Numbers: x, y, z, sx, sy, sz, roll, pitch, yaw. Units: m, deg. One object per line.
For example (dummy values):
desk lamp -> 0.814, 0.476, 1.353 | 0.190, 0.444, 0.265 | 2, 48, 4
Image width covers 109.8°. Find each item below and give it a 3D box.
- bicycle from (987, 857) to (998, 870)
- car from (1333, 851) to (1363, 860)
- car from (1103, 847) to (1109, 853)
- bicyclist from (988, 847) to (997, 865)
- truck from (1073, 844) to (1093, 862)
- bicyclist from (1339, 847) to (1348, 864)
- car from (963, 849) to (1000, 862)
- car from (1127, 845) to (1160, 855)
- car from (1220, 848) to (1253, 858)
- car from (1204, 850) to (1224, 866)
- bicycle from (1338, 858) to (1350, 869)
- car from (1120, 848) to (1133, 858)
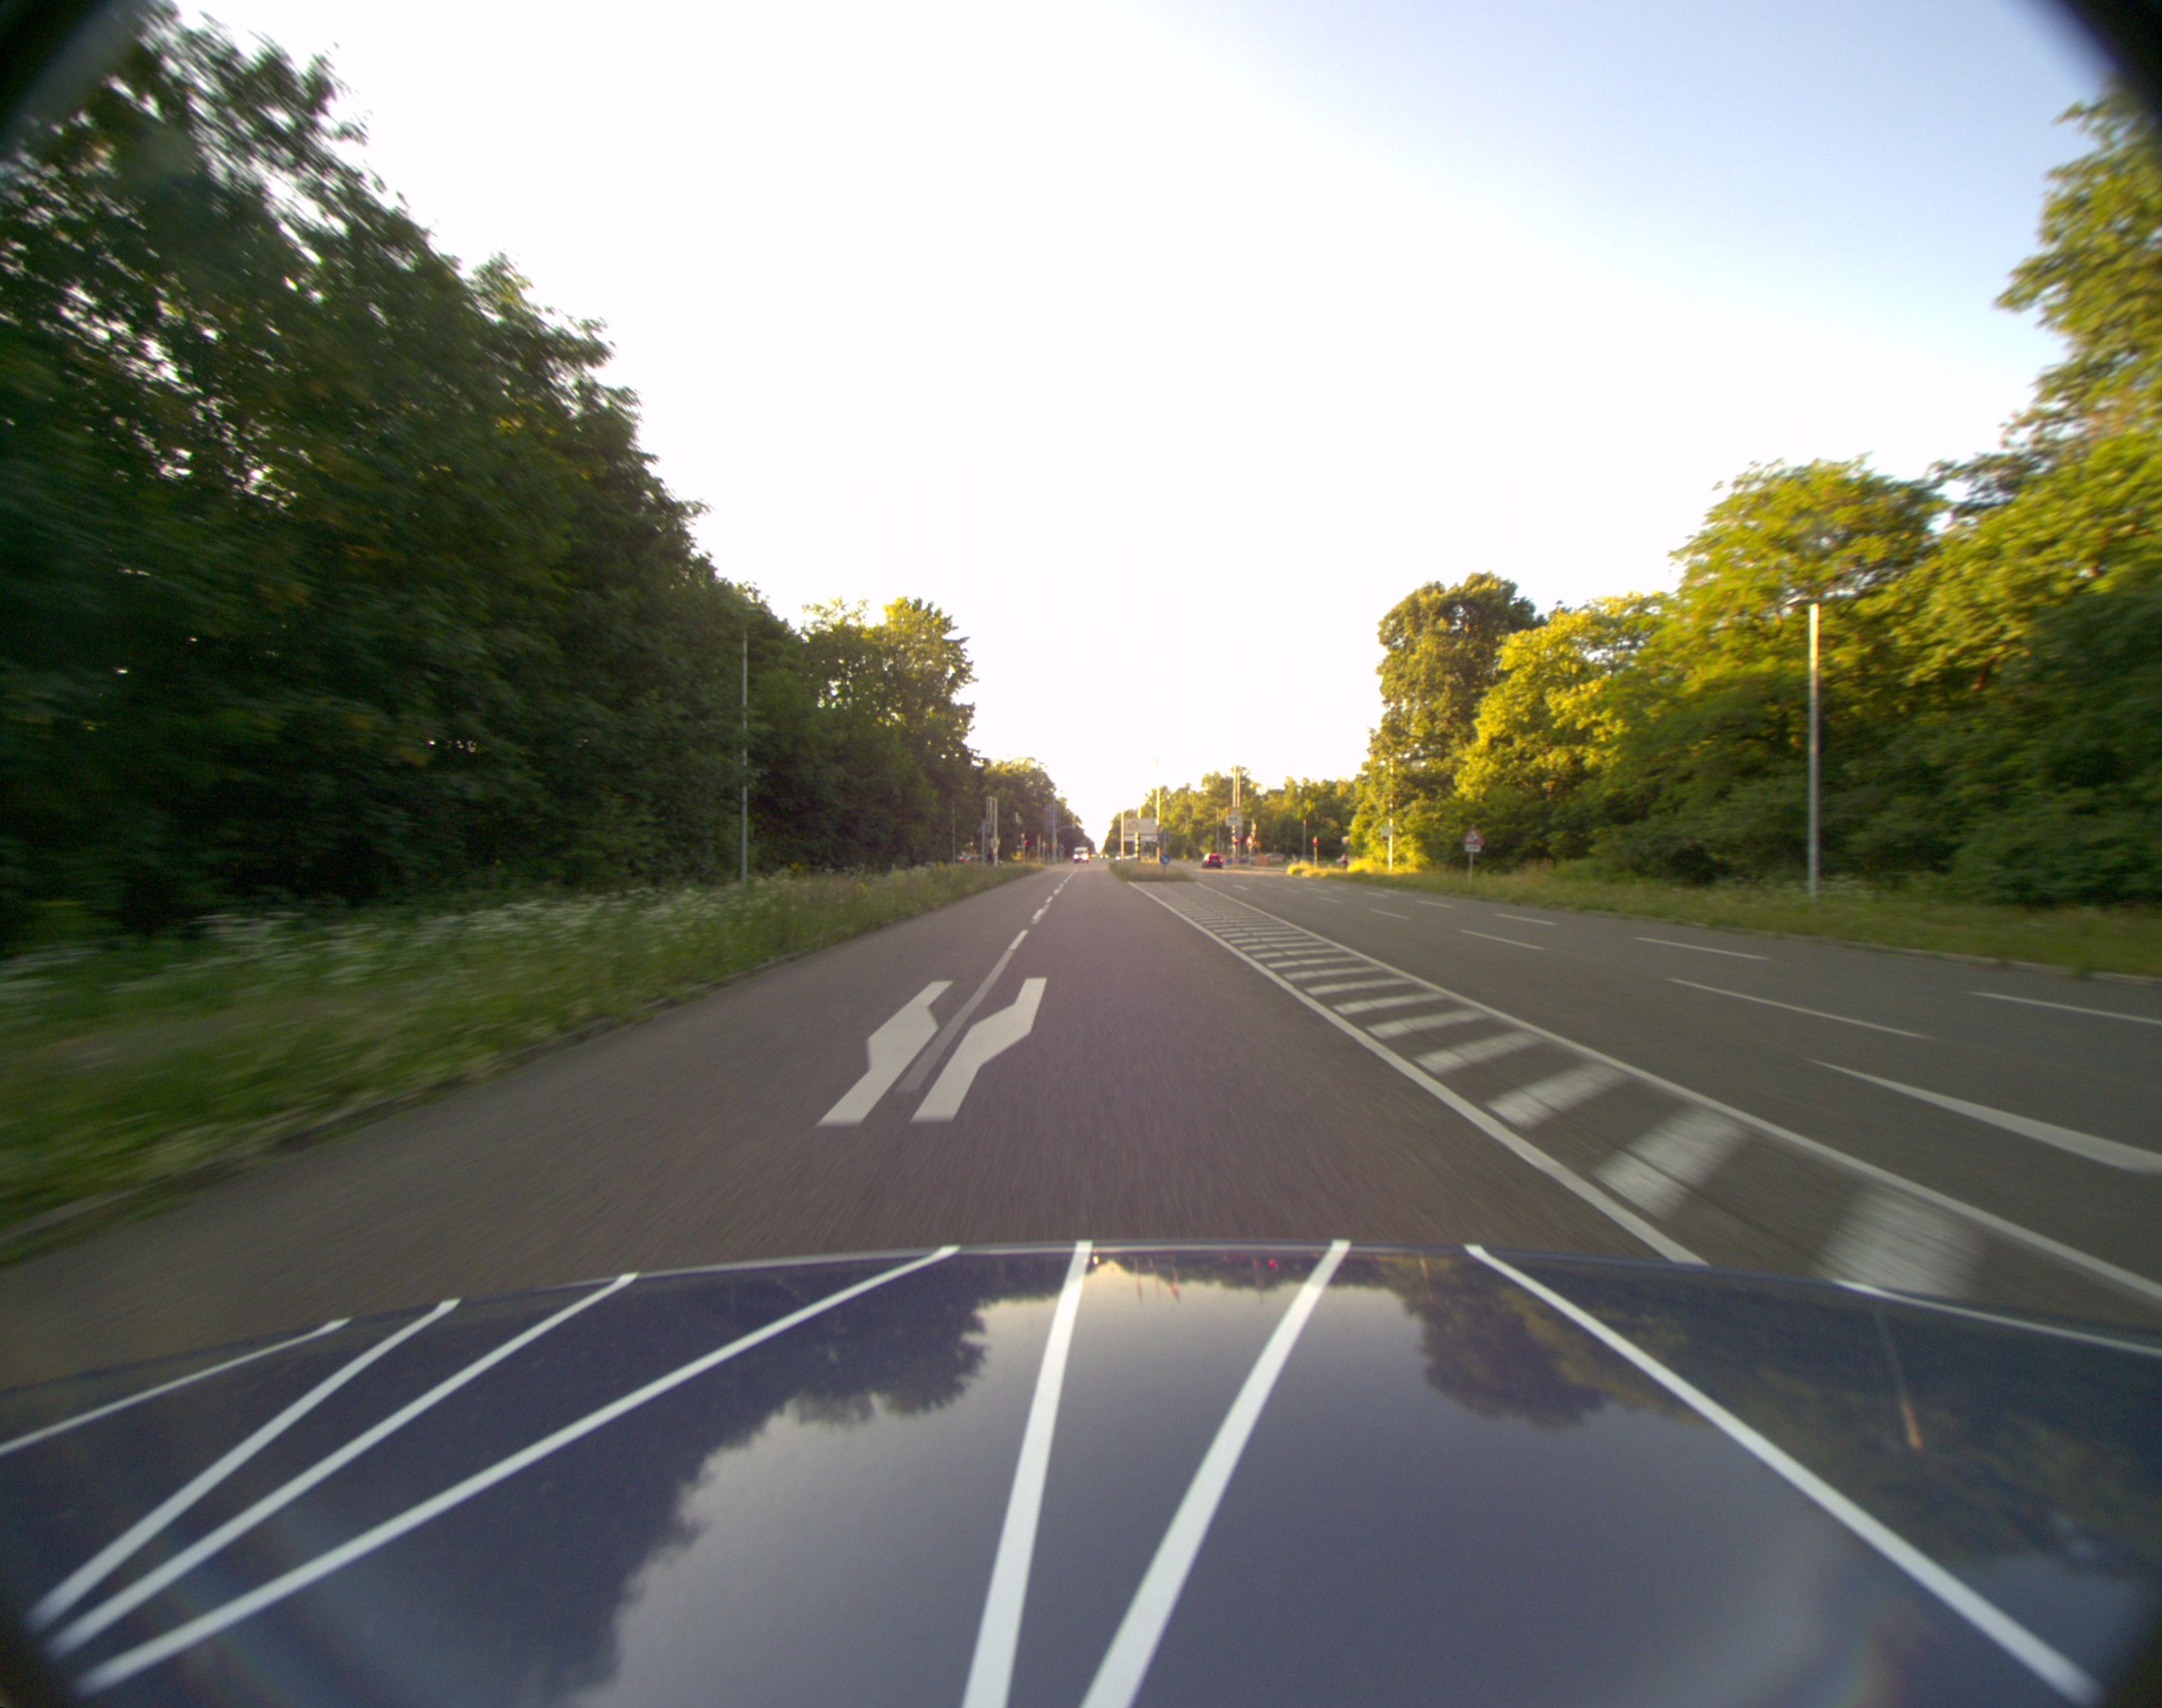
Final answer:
bicycle -> -7.244, 0.786, 62.196 | 0.612, 0.990, 1.691 | 0, 1, 2
car -> 43.200, 0.214, 122.999 | 4.234, 1.447, 1.720 | 0, 1, -11
car -> 7.242, -1.200, 219.461 | 1.846, 1.587, 4.207 | 0, 2, 0
bicyclist -> -7.251, 0.167, 62.245 | 0.604, 1.447, 0.780 | 0, 1, 2
truck -> 0.323, -0.139, 117.147 | 2.602, 2.542, 6.025 | -2, 0, 5
bicyclist -> 21.317, 0.115, 61.781 | 0.586, 1.421, 0.823 | 1, 1, 11
car -> -11.990, 0.160, 91.412 | 4.080, 1.397, 1.868 | 0, 2, -21
car -> 8.915, -0.540, 108.443 | 4.235, 1.447, 1.719 | 0, 1, -15
car -> 21.511, -0.142, 105.249 | 4.235, 1.447, 1.719 | 0, 1, -15
car -> 13.413, 0.411, 76.900 | 1.823, 1.525, 4.457 | 2, 1, 7
bicycle -> 21.359, 0.759, 61.681 | 0.586, 0.800, 1.960 | 1, 0, 11
car -> 7.148, -0.180, 119.699 | 2.001, 1.511, 4.000 | 0, 1, 1
